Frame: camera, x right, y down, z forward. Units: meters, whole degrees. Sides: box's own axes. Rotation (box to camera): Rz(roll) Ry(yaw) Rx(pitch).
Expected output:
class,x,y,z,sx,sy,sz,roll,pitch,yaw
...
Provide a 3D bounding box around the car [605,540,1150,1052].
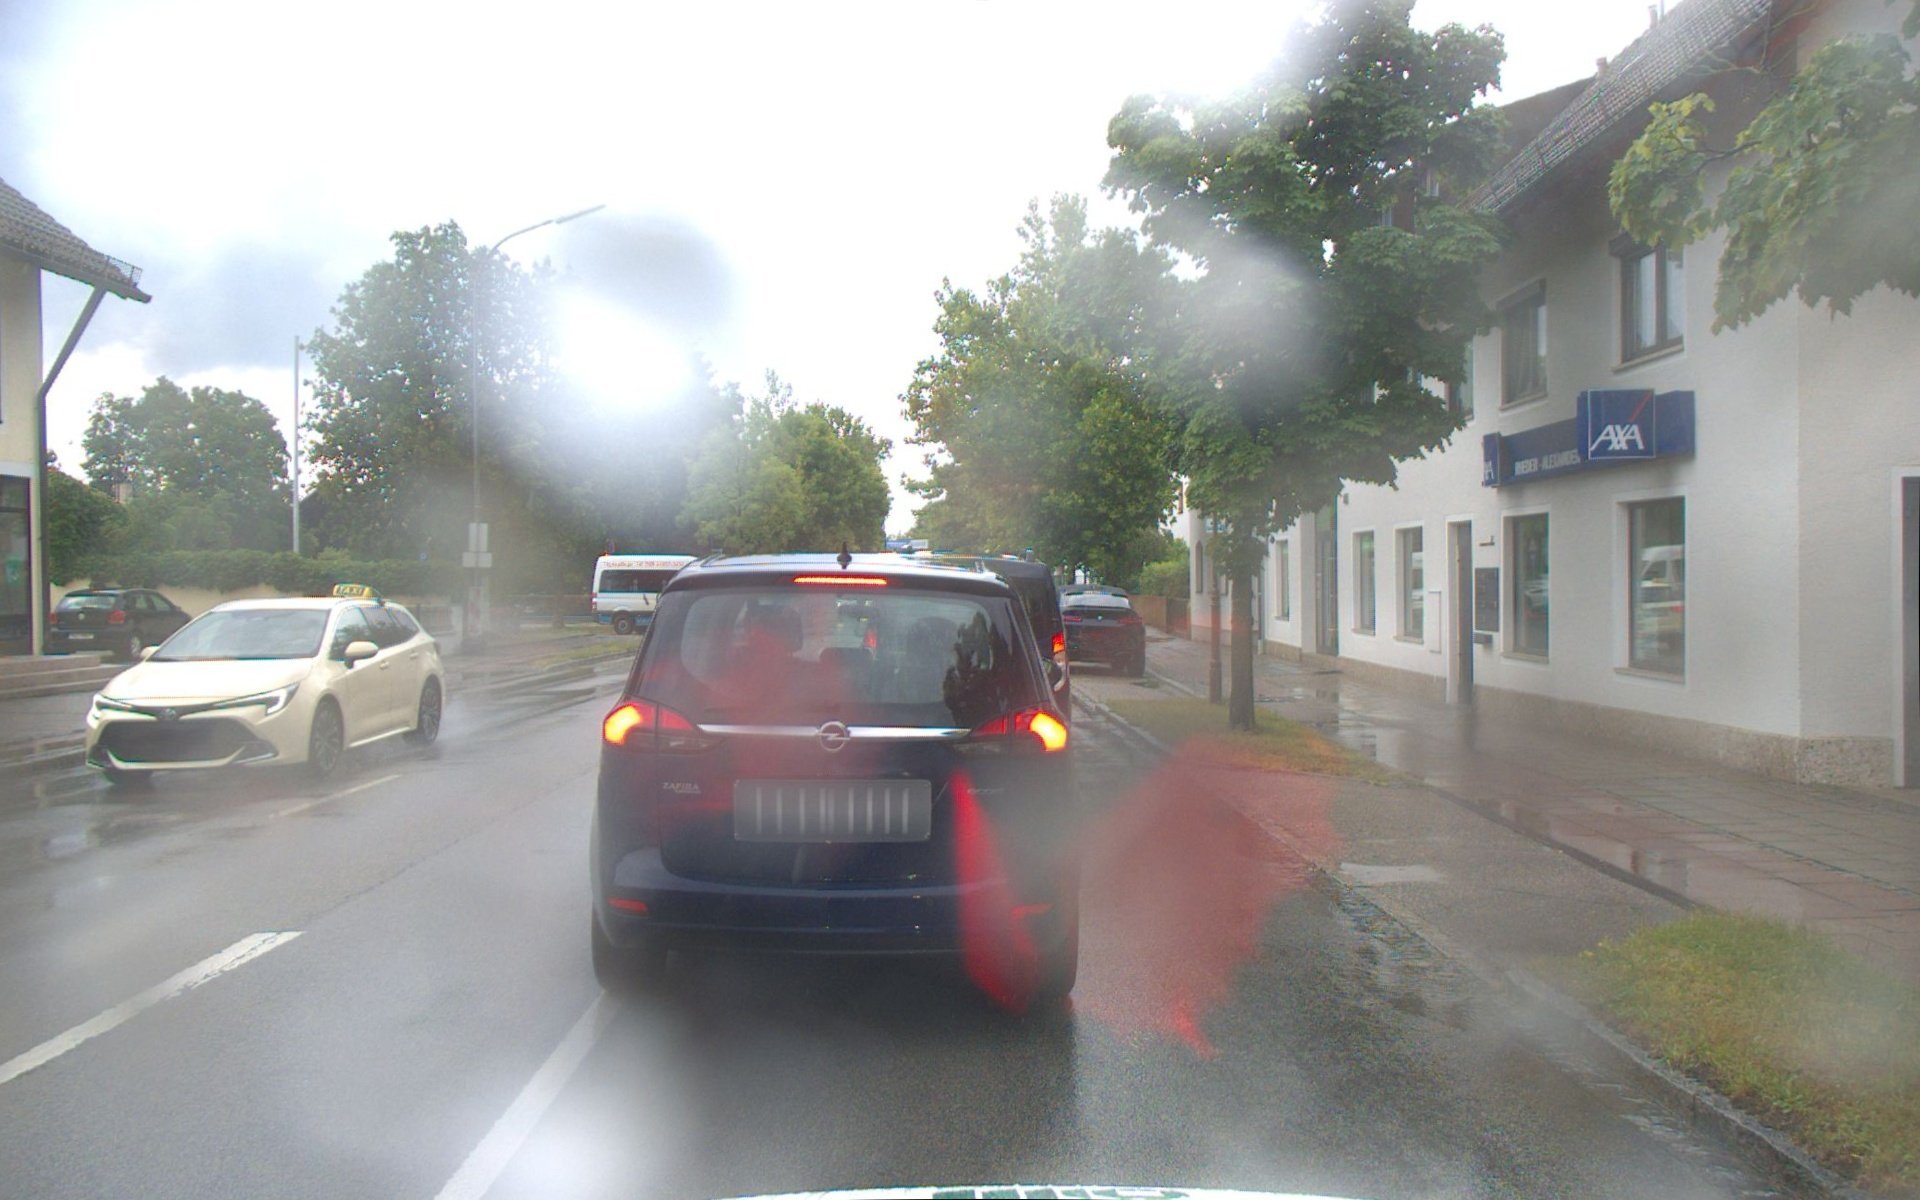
class,x,y,z,sx,sy,sz,roll,pitch,yaw
car,-0.287,0.620,7.129,1.733,1.632,3.662,0,0,-1

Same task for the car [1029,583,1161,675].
class,x,y,z,sx,sy,sz,roll,pitch,yaw
car,2.504,0.513,31.546,2.075,1.609,3.934,1,0,-2

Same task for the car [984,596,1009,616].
class,x,y,z,sx,sy,sz,roll,pitch,yaw
car,2.644,0.429,120.213,1.597,1.402,3.622,1,0,-1

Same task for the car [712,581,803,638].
class,x,y,z,sx,sy,sz,roll,pitch,yaw
car,-5.390,0.231,44.535,1.956,1.432,3.883,-2,0,0

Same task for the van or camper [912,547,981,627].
class,x,y,z,sx,sy,sz,roll,pitch,yaw
van or camper,-0.487,-0.470,59.001,2.312,2.712,5.370,-1,0,-1

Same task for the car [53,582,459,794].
class,x,y,z,sx,sy,sz,roll,pitch,yaw
car,-5.940,0.649,14.572,1.716,1.537,4.230,-2,0,0

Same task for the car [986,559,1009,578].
class,x,y,z,sx,sy,sz,roll,pitch,yaw
car,2.907,-2.467,129.755,1.597,1.402,3.622,-1,0,-1

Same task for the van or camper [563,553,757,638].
class,x,y,z,sx,sy,sz,roll,pitch,yaw
van or camper,-10.142,-0.154,56.142,6.115,2.754,2.103,-1,0,7

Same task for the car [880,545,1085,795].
class,x,y,z,sx,sy,sz,roll,pitch,yaw
car,0.142,0.502,13.666,1.470,1.807,3.111,1,0,-1

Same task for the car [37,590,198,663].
class,x,y,z,sx,sy,sz,roll,pitch,yaw
car,-17.481,0.509,34.478,1.574,1.404,3.508,-2,0,-1
